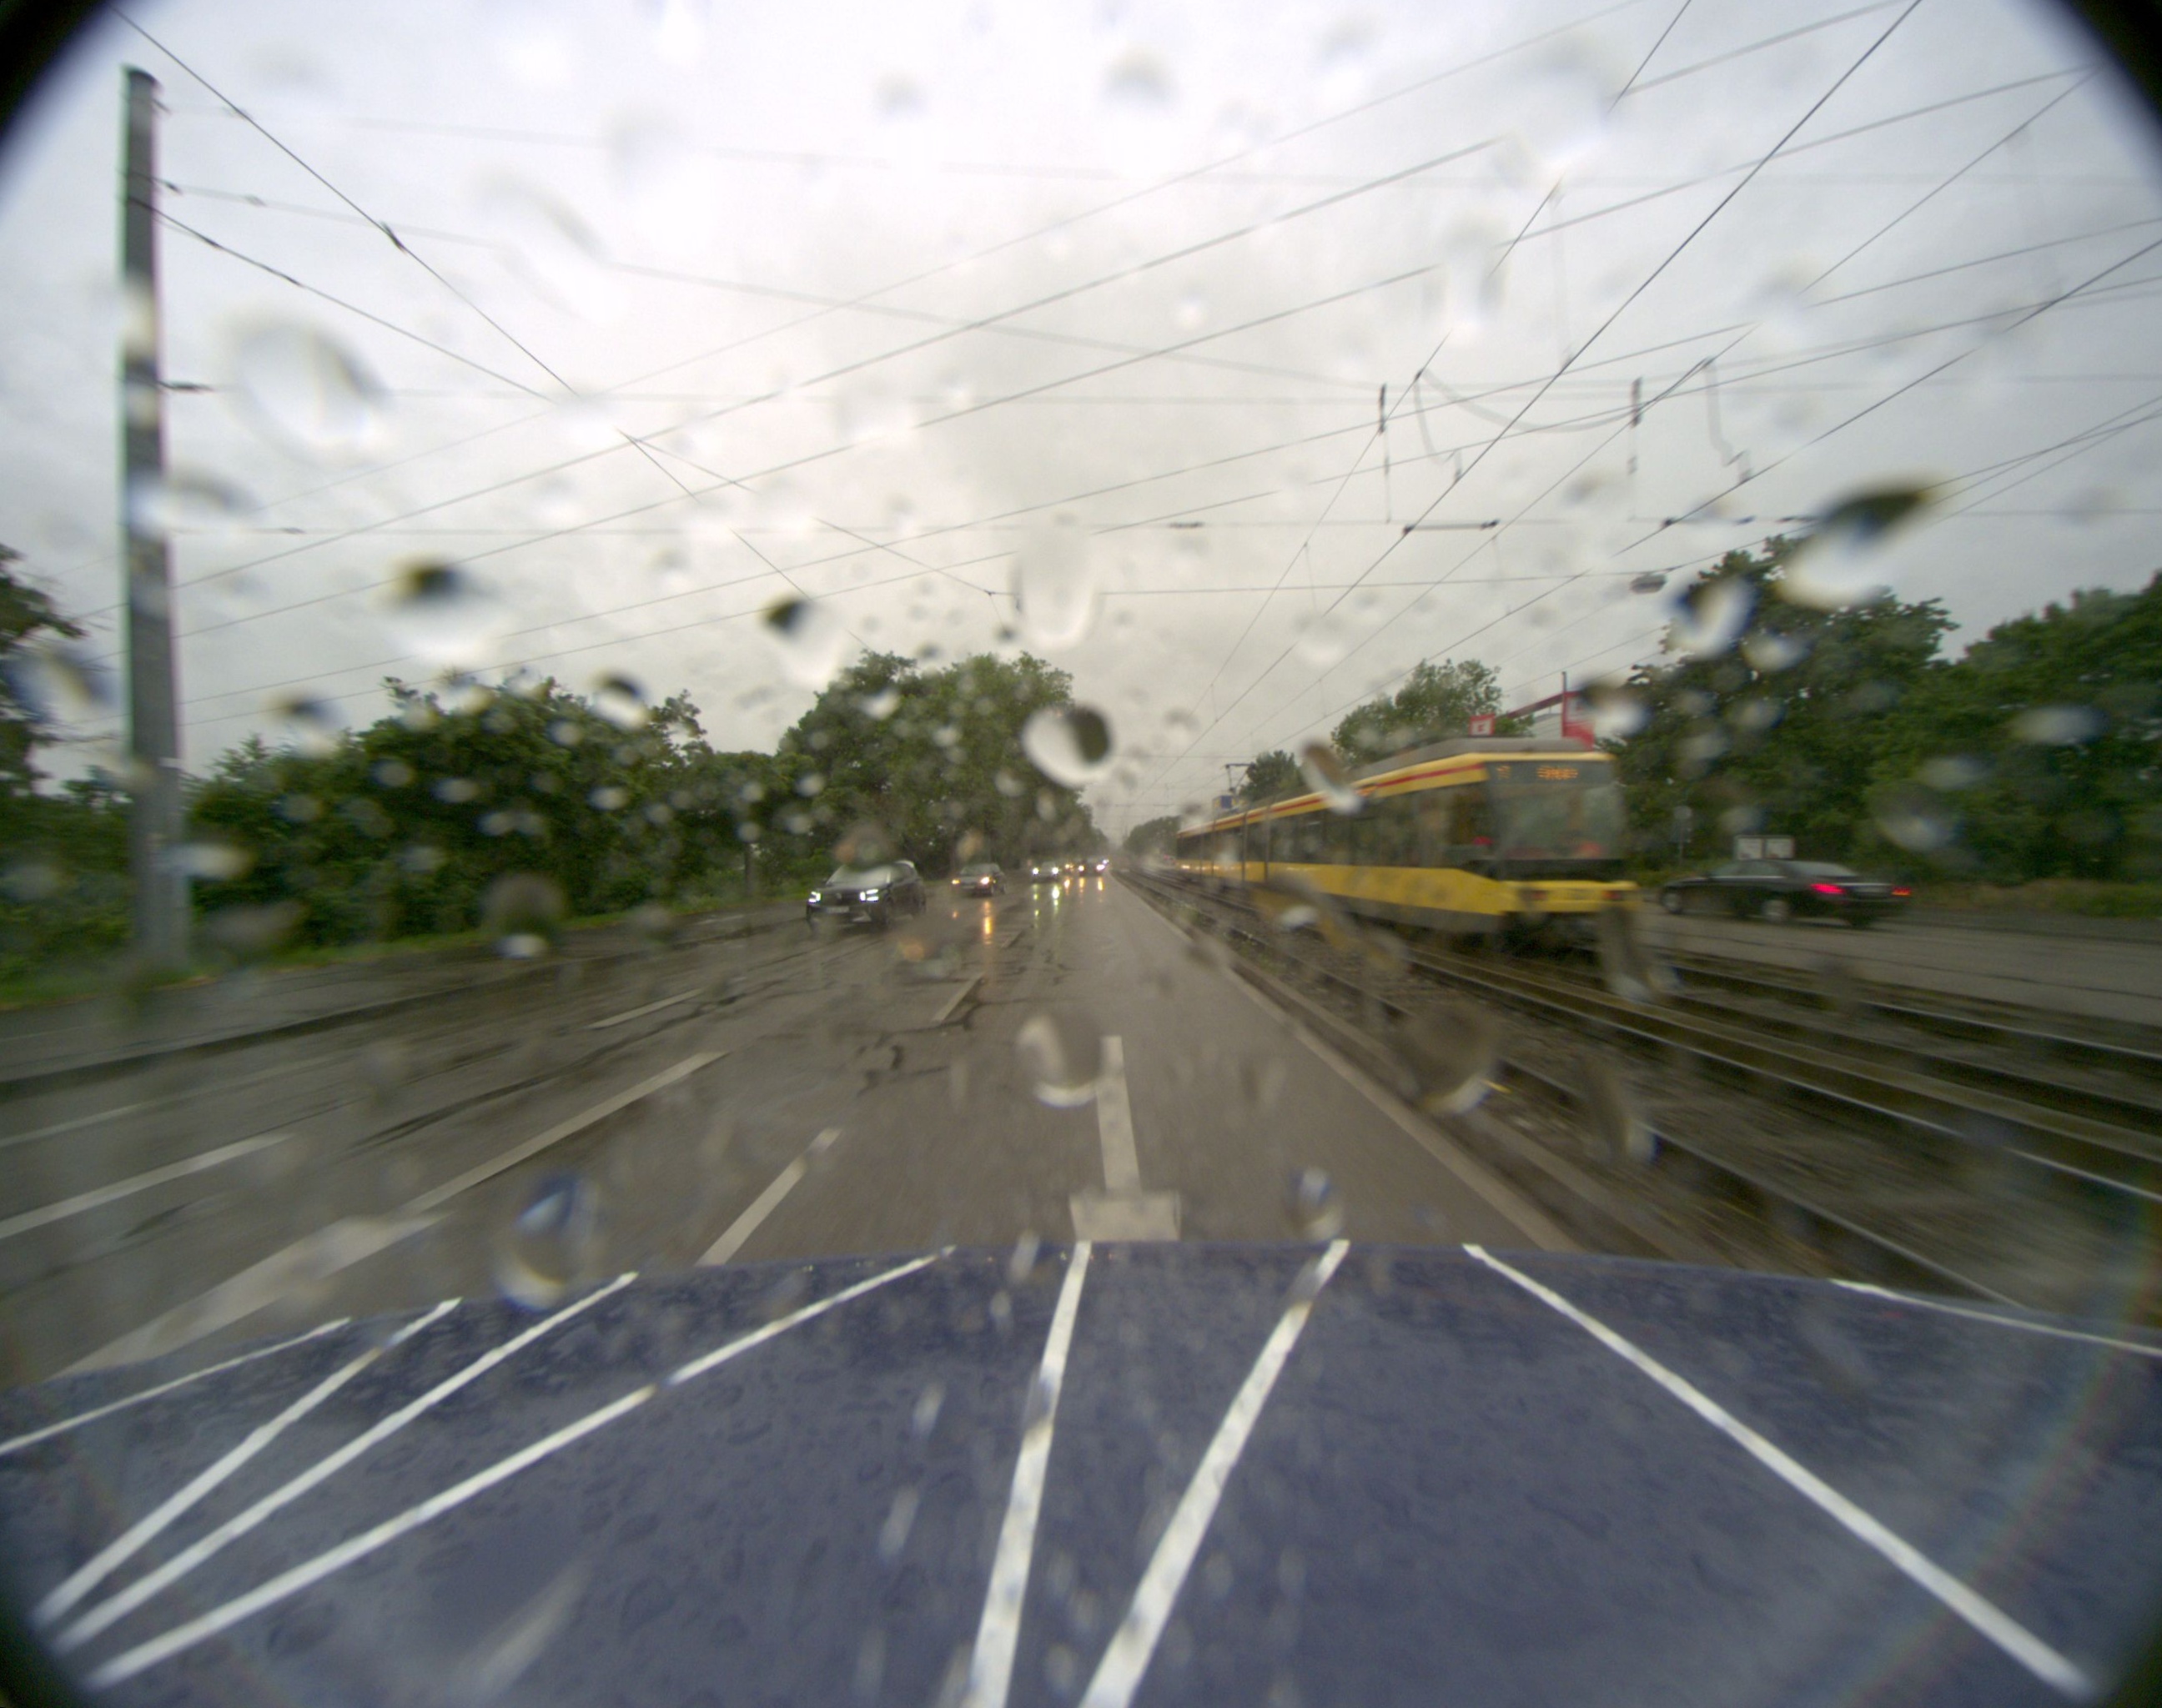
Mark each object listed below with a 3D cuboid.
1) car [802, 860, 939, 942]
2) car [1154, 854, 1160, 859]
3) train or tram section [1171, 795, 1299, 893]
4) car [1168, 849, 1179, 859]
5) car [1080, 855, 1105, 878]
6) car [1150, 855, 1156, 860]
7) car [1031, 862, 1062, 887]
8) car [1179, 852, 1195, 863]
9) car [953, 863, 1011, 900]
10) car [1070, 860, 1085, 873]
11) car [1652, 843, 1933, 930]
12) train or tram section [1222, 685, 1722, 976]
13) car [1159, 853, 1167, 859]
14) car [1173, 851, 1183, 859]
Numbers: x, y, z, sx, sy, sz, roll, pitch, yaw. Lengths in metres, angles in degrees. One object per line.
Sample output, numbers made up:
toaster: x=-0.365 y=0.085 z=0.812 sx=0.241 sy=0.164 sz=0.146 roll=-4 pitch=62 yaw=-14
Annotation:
car: x=-4.937 y=1.020 z=18.552 sx=1.797 sy=1.692 sz=4.764 roll=-2 pitch=0 yaw=2
car: x=21.050 y=0.718 z=210.145 sx=1.648 sy=1.536 sz=4.001 roll=0 pitch=0 yaw=4
train or tram section: x=7.033 y=-0.301 z=38.458 sx=2.872 sy=3.683 sz=17.891 roll=-2 pitch=0 yaw=0
car: x=18.931 y=0.007 z=155.295 sx=1.845 sy=1.898 sz=4.001 roll=0 pitch=0 yaw=2
car: x=0.907 y=0.979 z=59.386 sx=1.815 sy=1.692 sz=4.001 roll=-1 pitch=0 yaw=2
car: x=23.159 y=1.142 z=244.587 sx=1.569 sy=1.536 sz=4.002 roll=-2 pitch=-1 yaw=5
car: x=-2.230 y=1.308 z=49.716 sx=1.807 sy=1.521 sz=3.645 roll=-2 pitch=0 yaw=0
car: x=16.379 y=0.573 z=117.353 sx=1.942 sy=1.642 sz=4.872 roll=0 pitch=0 yaw=2
car: x=-4.201 y=1.140 z=32.843 sx=1.783 sy=1.419 sz=4.001 roll=-1 pitch=0 yaw=2
car: x=-0.493 y=1.658 z=100.557 sx=1.846 sy=1.572 sz=3.838 roll=-2 pitch=0 yaw=0
car: x=15.662 y=0.652 z=17.194 sx=1.901 sy=1.631 sz=4.730 roll=-2 pitch=0 yaw=0
train or tram section: x=6.903 y=-0.226 z=19.669 sx=2.893 sy=3.683 sz=19.530 roll=-2 pitch=0 yaw=0
car: x=20.644 y=0.435 z=192.046 sx=1.708 sy=1.536 sz=4.001 roll=0 pitch=0 yaw=2
car: x=17.676 y=0.186 z=138.710 sx=1.707 sy=1.445 sz=4.002 roll=0 pitch=0 yaw=5
